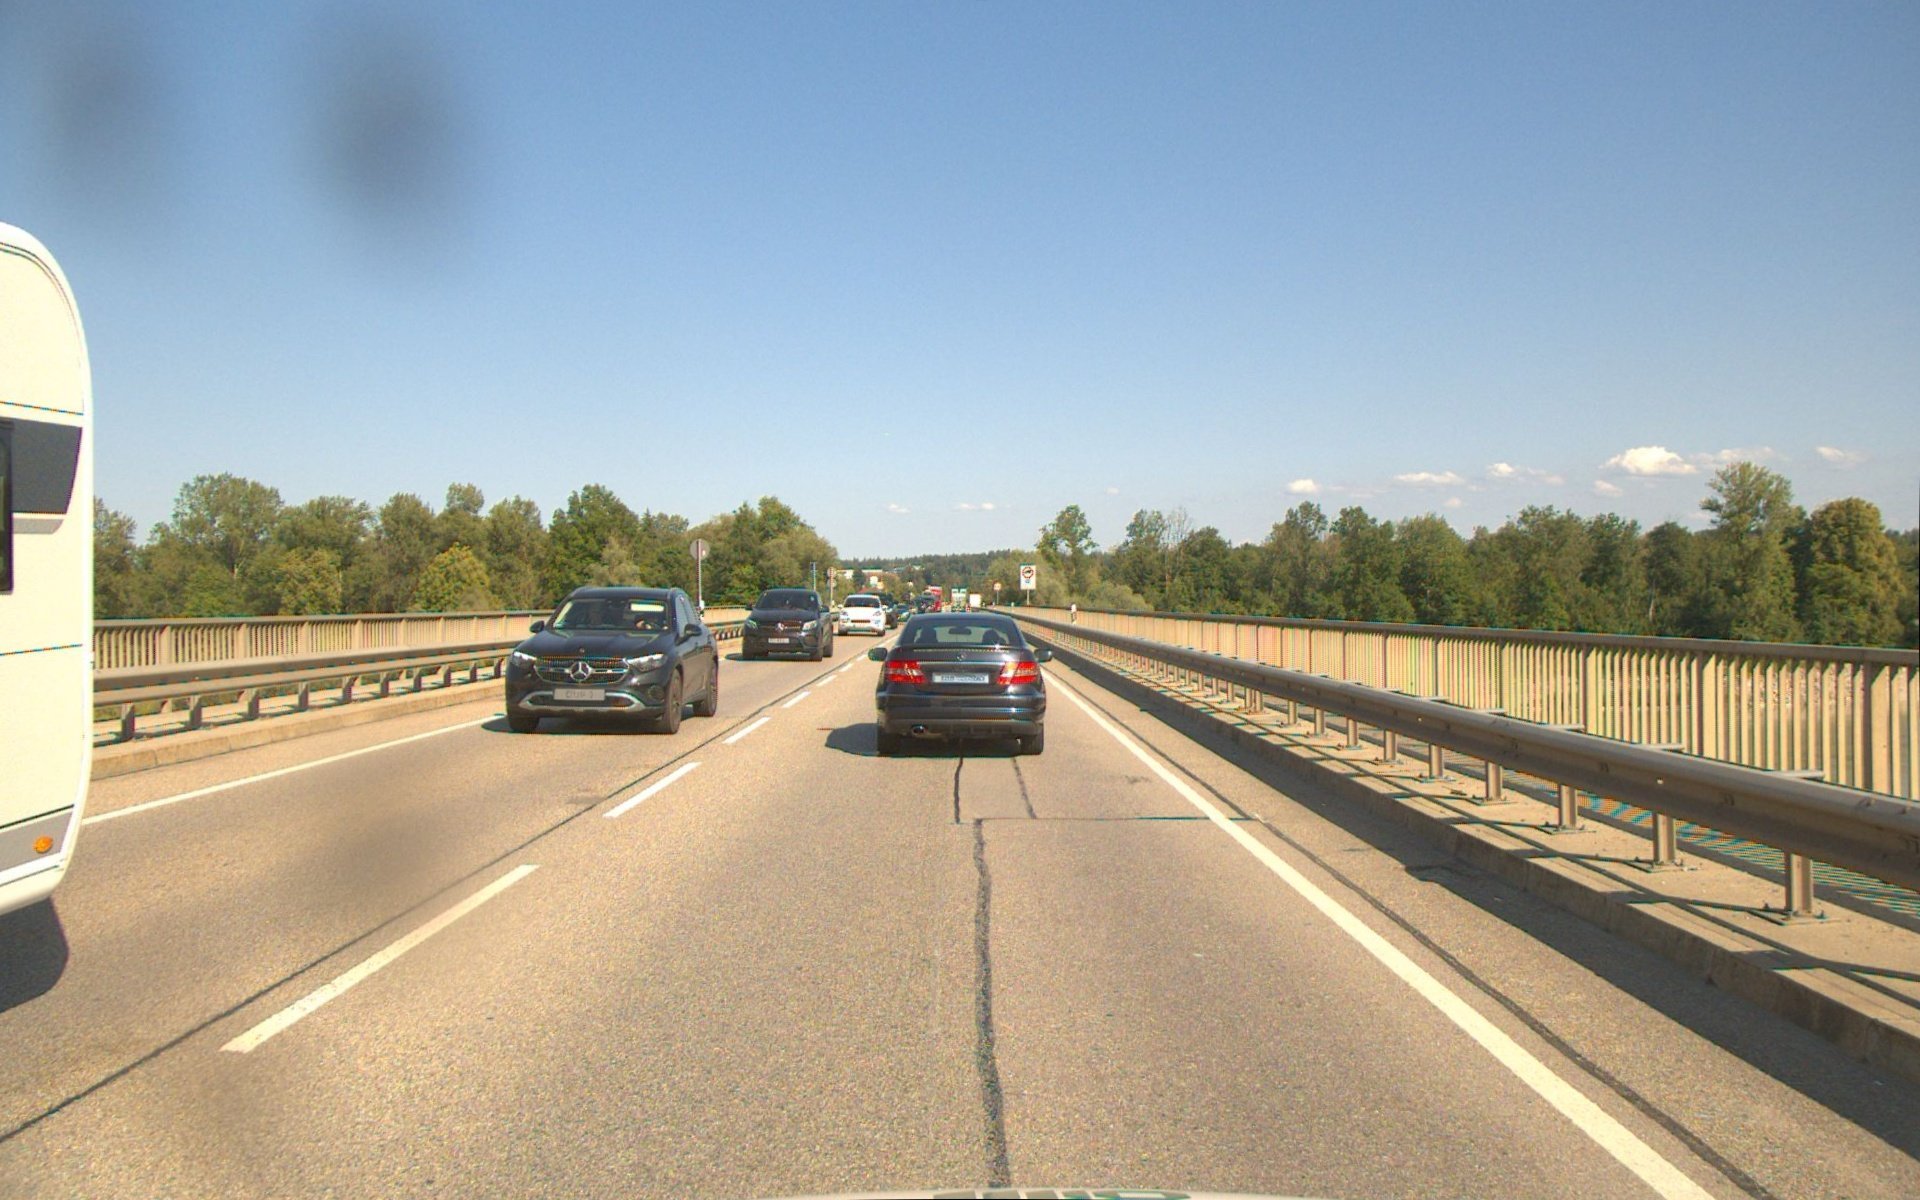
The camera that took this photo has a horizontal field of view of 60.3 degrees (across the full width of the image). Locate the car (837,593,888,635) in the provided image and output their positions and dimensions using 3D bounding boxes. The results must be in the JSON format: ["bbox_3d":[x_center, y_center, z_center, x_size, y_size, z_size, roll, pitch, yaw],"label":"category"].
[{"bbox_3d":[-4.052,0.558,69.452,1.943,1.680,4.596,1,0,-1],"label":"car"}]

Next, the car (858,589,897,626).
[{"bbox_3d":[-4.402,0.383,87.848,1.997,1.906,5.066,1,0,-3],"label":"car"}]

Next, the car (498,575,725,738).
[{"bbox_3d":[-3.995,0.594,19.687,1.766,1.690,4.432,1,0,0],"label":"car"}]

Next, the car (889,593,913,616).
[{"bbox_3d":[-4.637,0.345,130.288,1.817,1.752,4.565,1,0,-1],"label":"car"}]

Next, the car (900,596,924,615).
[{"bbox_3d":[-4.555,0.521,156.315,2.013,1.681,4.718,2,0,-4],"label":"car"}]

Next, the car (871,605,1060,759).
[{"bbox_3d":[0.054,0.780,17.535,1.756,1.400,4.000,1,0,0],"label":"car"}]

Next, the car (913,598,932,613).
[{"bbox_3d":[-3.934,0.572,172.326,1.770,1.605,4.198,1,0,-4],"label":"car"}]

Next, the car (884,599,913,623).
[{"bbox_3d":[-3.935,0.682,105.315,1.730,1.472,4.453,1,0,-3],"label":"car"}]

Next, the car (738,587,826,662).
[{"bbox_3d":[-4.356,0.581,41.002,1.910,1.723,4.474,1,0,-3],"label":"car"}]

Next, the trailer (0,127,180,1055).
[{"bbox_3d":[-4.145,0.000,2.015,2.503,2.785,8.062,-1,0,0],"label":"trailer"}]
